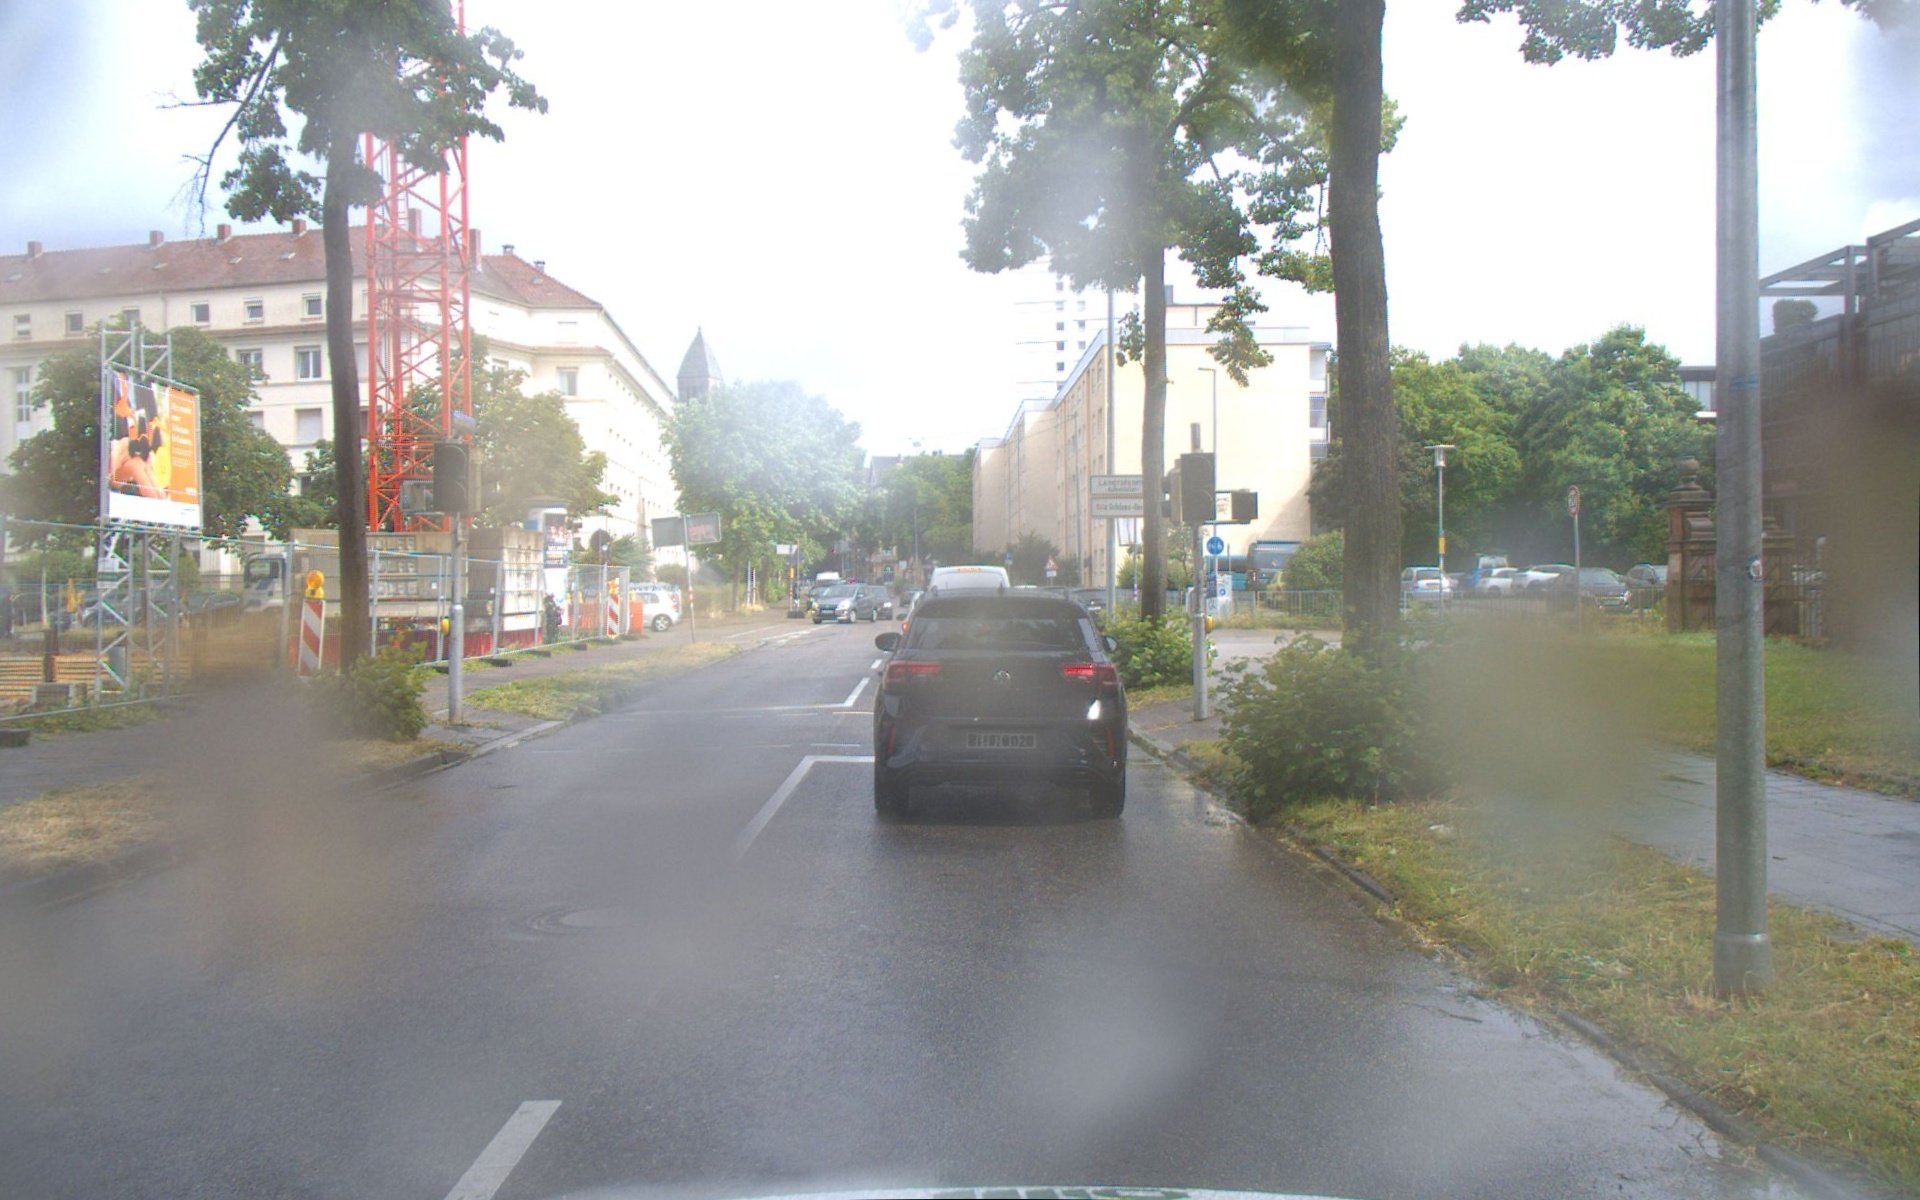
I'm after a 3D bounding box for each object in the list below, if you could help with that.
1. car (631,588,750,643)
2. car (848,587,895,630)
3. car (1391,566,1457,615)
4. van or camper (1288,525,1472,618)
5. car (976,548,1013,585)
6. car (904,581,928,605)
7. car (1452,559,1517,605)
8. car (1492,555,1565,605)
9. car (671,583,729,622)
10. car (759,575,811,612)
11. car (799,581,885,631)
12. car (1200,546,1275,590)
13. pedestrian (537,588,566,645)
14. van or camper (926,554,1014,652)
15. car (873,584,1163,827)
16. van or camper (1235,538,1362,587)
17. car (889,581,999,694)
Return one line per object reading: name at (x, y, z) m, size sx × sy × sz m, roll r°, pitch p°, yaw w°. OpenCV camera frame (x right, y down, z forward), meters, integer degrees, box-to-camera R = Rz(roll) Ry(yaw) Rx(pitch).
car at (-9.685, 0.554, 59.395) m, size 3.870 × 1.679 × 1.748 m, roll -4°, pitch 0°, yaw -23°
car at (-3.884, 0.354, 73.019) m, size 1.752 × 1.713 × 4.136 m, roll -4°, pitch 1°, yaw 0°
car at (17.819, -0.369, 63.672) m, size 1.706 × 1.713 × 3.873 m, roll -4°, pitch 0°, yaw 5°
van or camper at (12.638, -0.859, 49.983) m, size 4.931 × 2.641 × 2.167 m, roll -1°, pitch 0°, yaw -2°
car at (1.979, -1.937, 95.605) m, size 1.953 × 2.049 × 3.999 m, roll -1°, pitch 0°, yaw -1°
car at (-3.089, -0.518, 115.368) m, size 1.559 × 1.538 × 3.730 m, roll -4°, pitch 1°, yaw -2°
car at (25.127, -0.861, 79.380) m, size 1.952 × 2.048 × 4.002 m, roll -4°, pitch 0°, yaw 3°
car at (25.369, -0.886, 73.983) m, size 1.952 × 2.048 × 4.002 m, roll -4°, pitch 0°, yaw 3°
car at (-11.494, 0.094, 73.307) m, size 1.557 × 1.538 × 3.734 m, roll -4°, pitch 1°, yaw 5°
car at (-8.000, -0.300, 75.861) m, size 1.557 × 1.538 × 3.734 m, roll -4°, pitch 1°, yaw 5°
car at (-4.579, 0.212, 64.808) m, size 1.751 × 1.713 × 4.489 m, roll -4°, pitch 1°, yaw 17°
car at (12.988, -1.478, 77.672) m, size 3.335 × 1.812 × 1.761 m, roll -4°, pitch 0°, yaw 8°
pedestrian at (-11.191, 0.441, 45.288) m, size 0.652 × 1.511 × 0.667 m, roll -1°, pitch 1°, yaw -25°
van or camper at (0.221, 0.036, 35.503) m, size 1.782 × 1.981 × 4.195 m, roll 0°, pitch 1°, yaw 1°
car at (0.370, 0.660, 12.619) m, size 1.856 × 1.549 × 4.000 m, roll 0°, pitch 1°, yaw 0°
van or camper at (13.829, -1.539, 67.732) m, size 4.775 × 1.959 × 2.131 m, roll 0°, pitch 1°, yaw 0°
car at (-0.210, 0.615, 28.879) m, size 1.645 × 1.738 × 3.911 m, roll -3°, pitch 0°, yaw 2°
